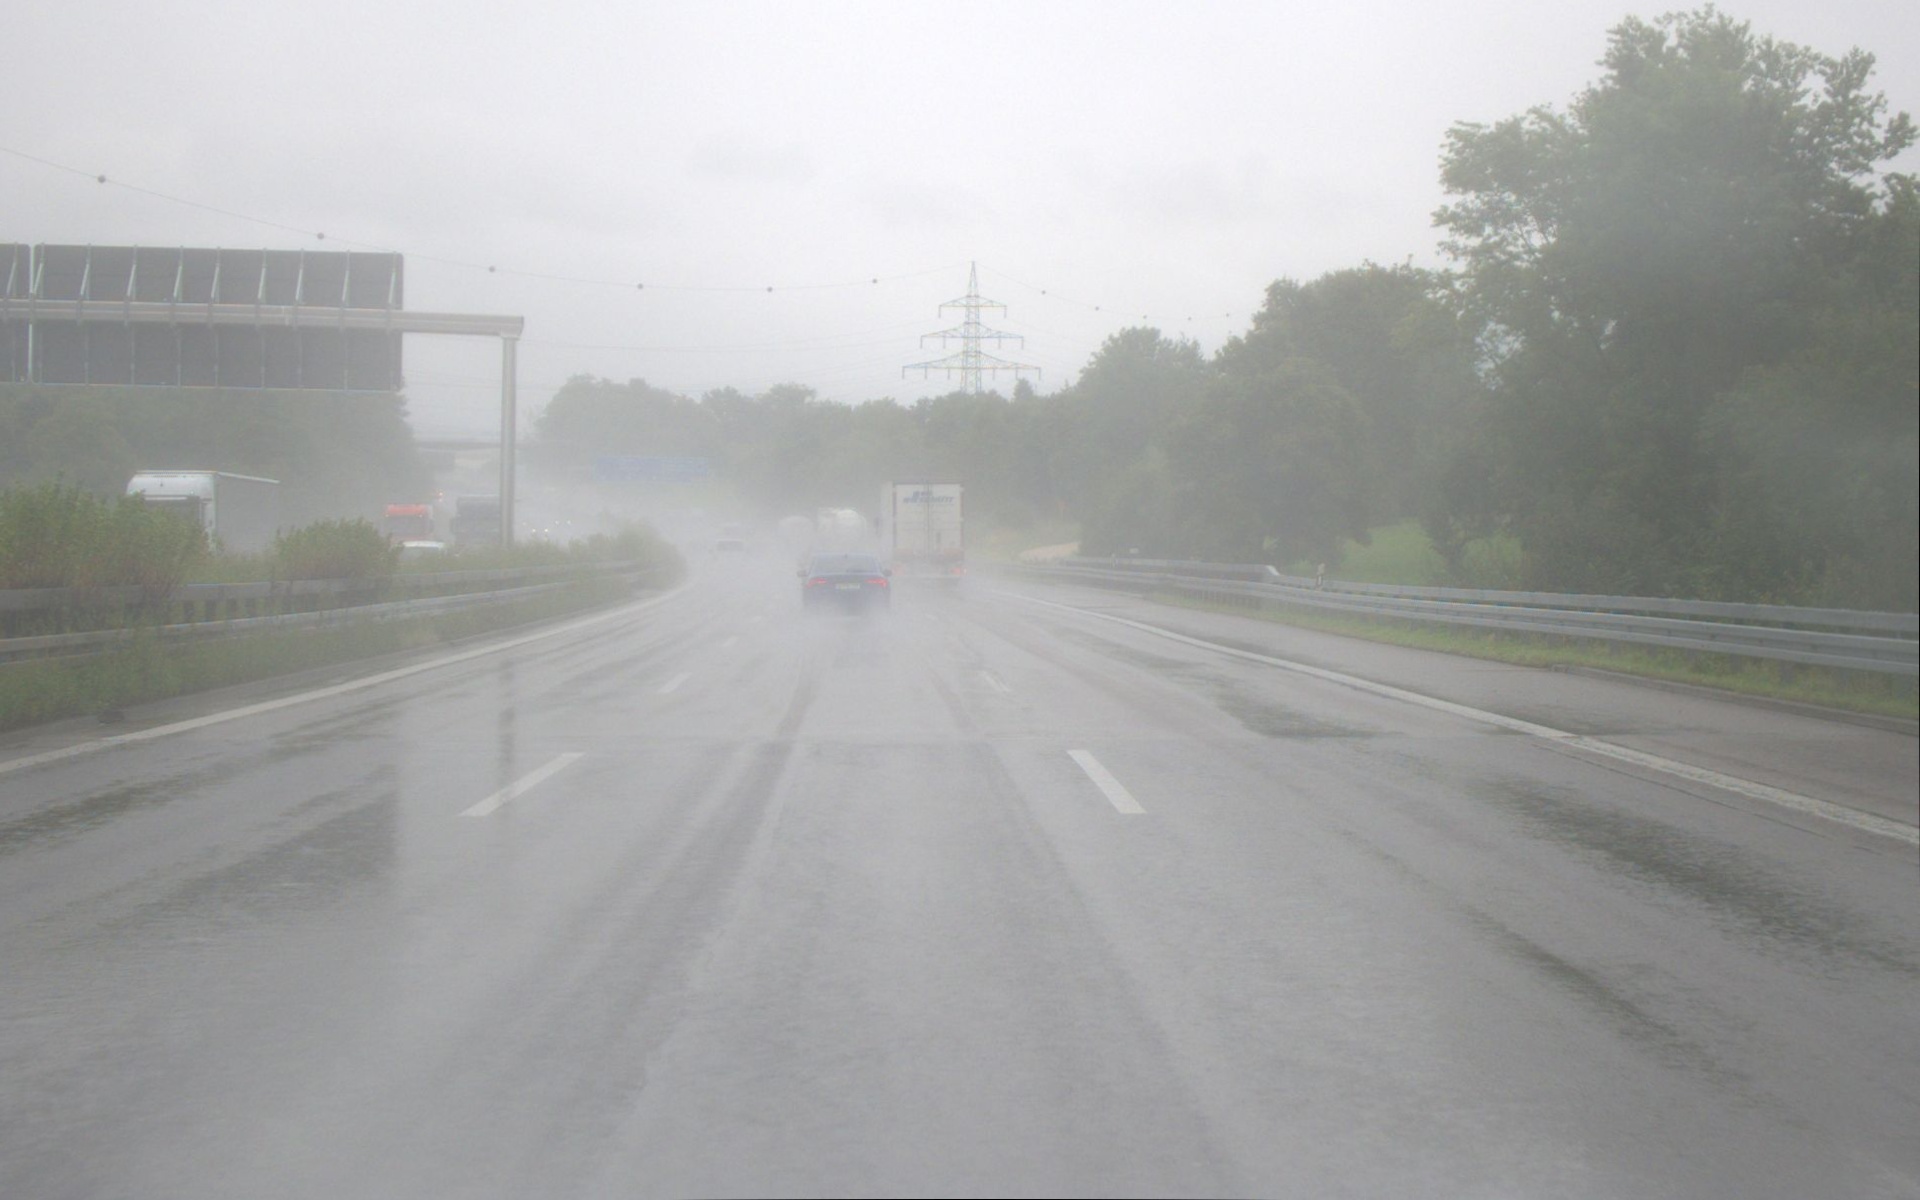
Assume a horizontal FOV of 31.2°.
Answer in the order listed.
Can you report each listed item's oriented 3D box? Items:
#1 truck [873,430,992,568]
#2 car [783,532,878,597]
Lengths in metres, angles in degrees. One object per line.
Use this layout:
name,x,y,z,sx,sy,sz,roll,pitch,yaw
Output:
truck,-1.132,-3.928,133.429,4.256,4.955,17.342,-1,2,-1
car,-2.621,-0.753,70.484,1.748,1.208,4.000,3,1,0
